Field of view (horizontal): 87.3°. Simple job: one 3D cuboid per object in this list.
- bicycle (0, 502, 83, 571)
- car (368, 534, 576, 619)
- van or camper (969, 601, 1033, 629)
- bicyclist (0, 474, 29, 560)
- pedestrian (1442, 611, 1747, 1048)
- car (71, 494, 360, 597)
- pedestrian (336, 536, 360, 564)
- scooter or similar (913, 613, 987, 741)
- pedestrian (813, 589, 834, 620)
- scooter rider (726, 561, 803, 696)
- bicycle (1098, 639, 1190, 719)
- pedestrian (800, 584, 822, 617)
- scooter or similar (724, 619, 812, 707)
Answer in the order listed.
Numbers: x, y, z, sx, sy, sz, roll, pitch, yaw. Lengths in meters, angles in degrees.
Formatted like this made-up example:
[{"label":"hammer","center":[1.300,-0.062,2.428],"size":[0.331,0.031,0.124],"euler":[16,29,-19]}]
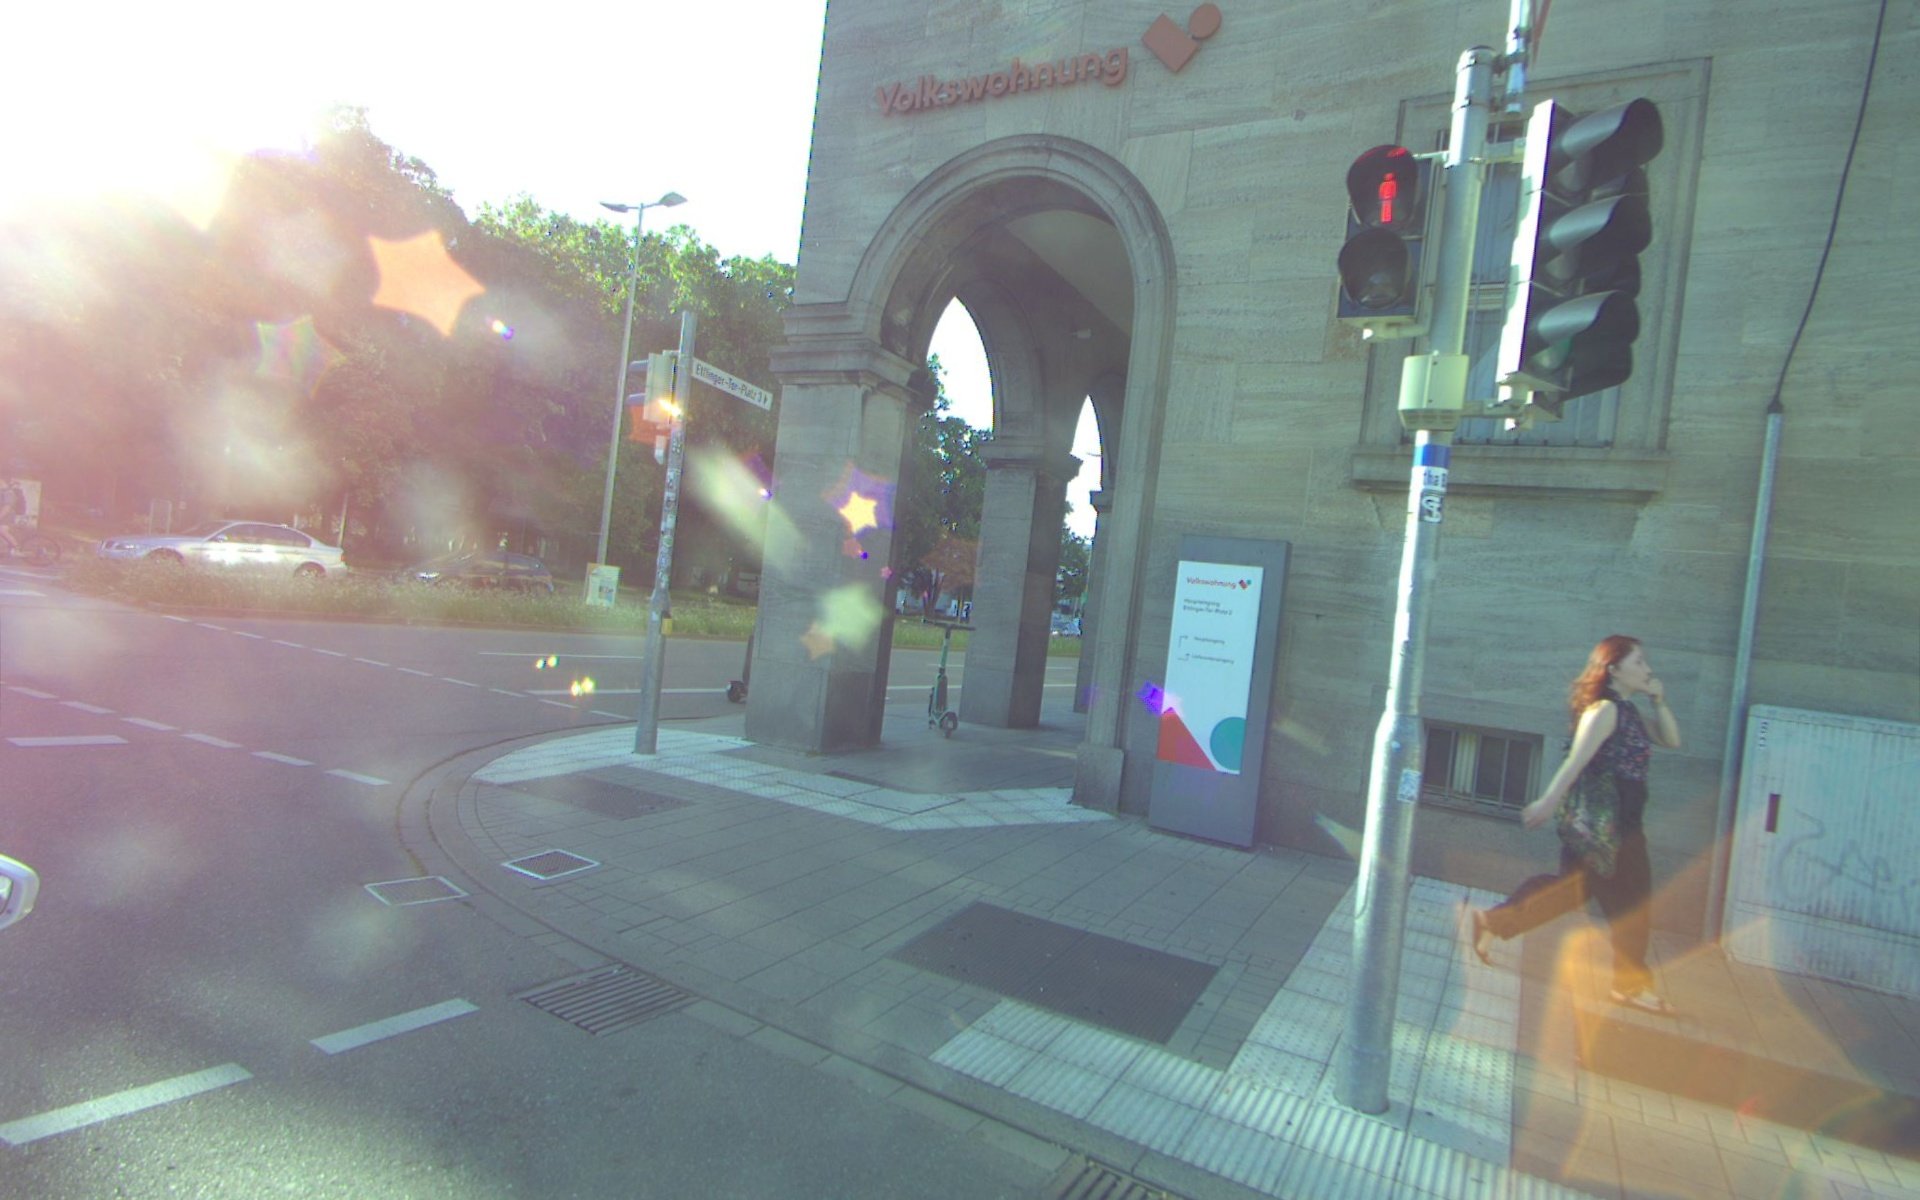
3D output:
[{"label":"bicycle","center":[-19.650,-1.374,20.750],"size":[0.768,1.255,2.236],"euler":[6,0,45]},{"label":"car","center":[-12.785,-0.557,26.674],"size":[1.966,1.696,4.541],"euler":[7,0,30]},{"label":"van or camper","center":[3.916,1.448,96.742],"size":[5.588,2.037,2.254],"euler":[6,-2,32]},{"label":"bicyclist","center":[-19.739,-1.725,20.618],"size":[0.774,1.699,0.834],"euler":[6,0,45]},{"label":"pedestrian","center":[2.776,0.921,4.499],"size":[0.903,1.645,0.735],"euler":[7,5,30]},{"label":"car","center":[-15.934,-1.104,21.813],"size":[1.966,1.580,4.541],"euler":[7,0,30]},{"label":"pedestrian","center":[-33.092,-2.711,54.378],"size":[0.816,1.356,0.714],"euler":[7,1,33]},{"label":"scooter or similar","center":[-0.129,0.795,10.757],"size":[0.630,1.238,1.264],"euler":[4,-1,-4]},{"label":"pedestrian","center":[-7.871,0.281,57.910],"size":[0.733,1.661,0.724],"euler":[7,1,34]},{"label":"scooter rider","center":[-2.517,0.368,13.012],"size":[0.552,1.652,0.650],"euler":[7,1,19]},{"label":"bicycle","center":[3.016,1.280,16.701],"size":[0.654,1.147,1.707],"euler":[5,-1,-19]},{"label":"pedestrian","center":[-8.636,0.037,58.278],"size":[0.761,1.762,0.758],"euler":[7,1,34]},{"label":"scooter or similar","center":[-2.503,0.821,13.195],"size":[0.546,1.044,1.117],"euler":[7,0,19]}]
